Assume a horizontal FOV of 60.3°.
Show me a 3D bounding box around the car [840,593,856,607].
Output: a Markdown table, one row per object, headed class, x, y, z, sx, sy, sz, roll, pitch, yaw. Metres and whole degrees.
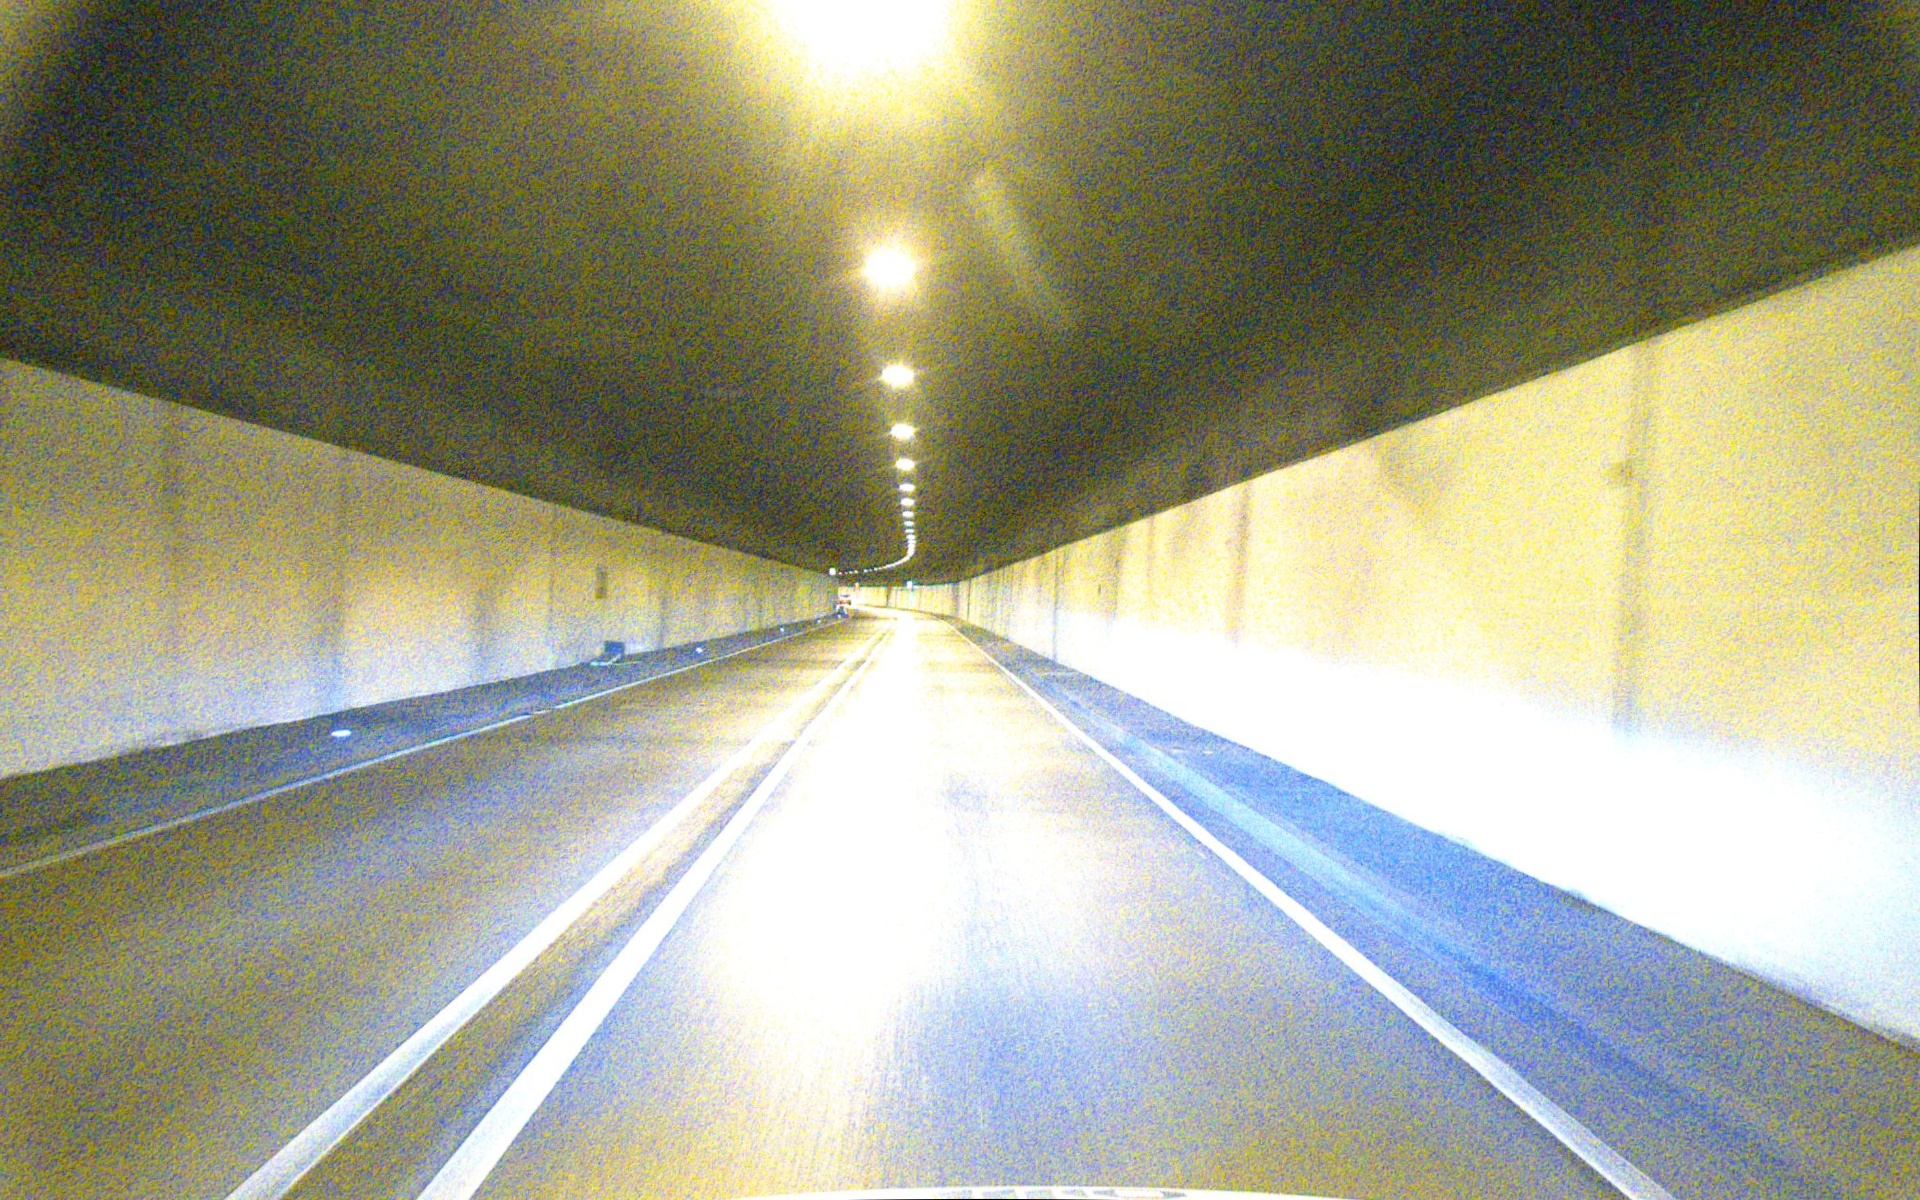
| class | x | y | z | sx | sy | sz | roll | pitch | yaw |
| --- | --- | --- | --- | --- | --- | --- | --- | --- | --- |
| car | -17.078 | 0.022 | 252.207 | 1.930 | 1.973 | 4.604 | 2 | -1 | -8 |
